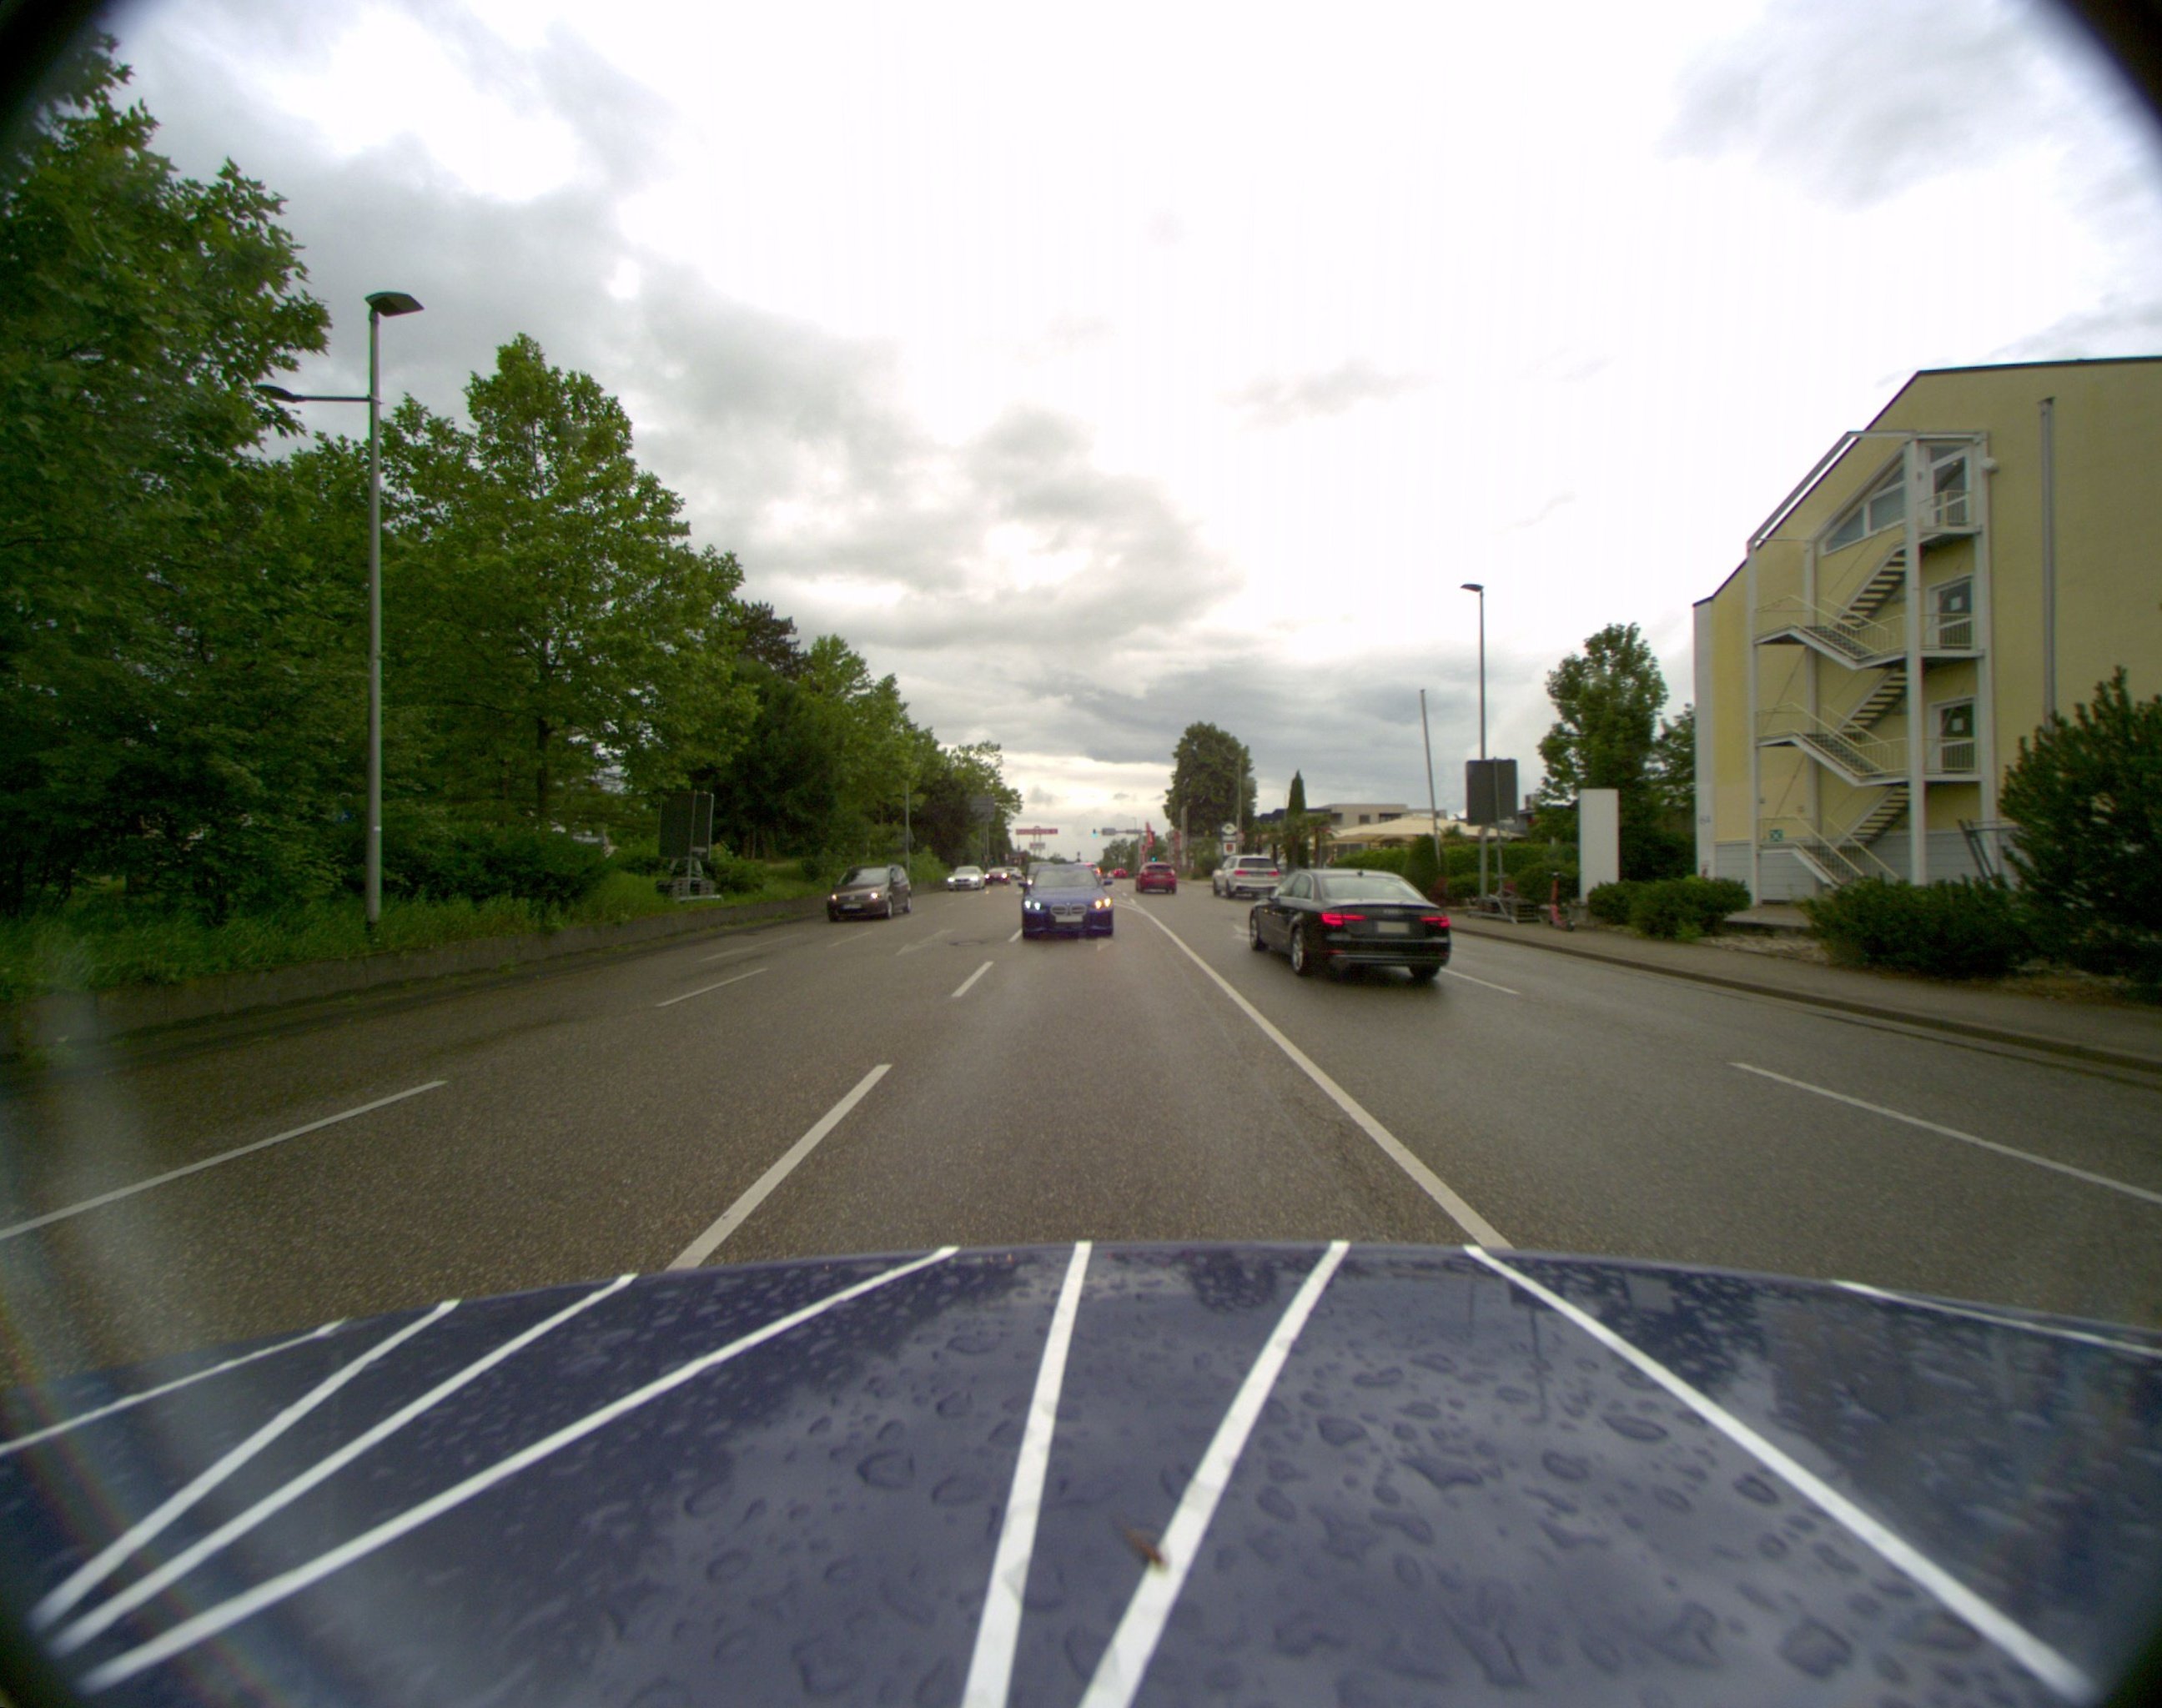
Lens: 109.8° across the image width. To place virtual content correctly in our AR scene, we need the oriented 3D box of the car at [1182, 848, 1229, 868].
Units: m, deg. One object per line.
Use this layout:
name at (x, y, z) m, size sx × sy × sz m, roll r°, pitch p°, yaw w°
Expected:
car at (12.982, 0.429, 79.155) m, size 4.407 × 2.001 × 1.996 m, roll 2°, pitch -2°, yaw -28°

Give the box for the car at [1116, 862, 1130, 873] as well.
car at (6.058, 1.990, 109.698) m, size 1.641 × 1.524 × 3.972 m, roll 1°, pitch -1°, yaw 0°

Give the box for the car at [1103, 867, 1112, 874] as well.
car at (5.178, 3.152, 146.939) m, size 1.627 × 1.324 × 3.947 m, roll 1°, pitch -2°, yaw 0°

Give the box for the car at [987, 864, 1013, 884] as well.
car at (-6.272, 1.528, 58.938) m, size 1.634 × 1.448 × 3.539 m, roll -1°, pitch -1°, yaw -1°

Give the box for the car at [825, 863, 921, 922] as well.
car at (-6.247, 1.122, 23.239) m, size 1.751 × 1.599 × 3.981 m, roll -2°, pitch -1°, yaw 1°

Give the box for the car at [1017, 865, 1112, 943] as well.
car at (-0.352, 1.014, 16.835) m, size 1.784 × 1.448 × 4.598 m, roll -2°, pitch -1°, yaw -1°

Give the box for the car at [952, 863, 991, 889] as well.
car at (-6.677, 1.345, 46.674) m, size 1.784 × 1.448 × 4.680 m, roll -2°, pitch -1°, yaw -1°

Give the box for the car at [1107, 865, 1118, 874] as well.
car at (5.278, 2.588, 126.609) m, size 1.640 × 1.468 × 4.047 m, roll 0°, pitch -1°, yaw 6°

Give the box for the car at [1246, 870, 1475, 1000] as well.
car at (3.692, 0.979, 10.944) m, size 1.897 × 1.396 × 4.265 m, roll 0°, pitch 0°, yaw 3°

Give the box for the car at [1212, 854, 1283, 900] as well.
car at (6.935, 0.902, 32.265) m, size 1.922 × 1.752 × 5.143 m, roll 2°, pitch 0°, yaw 1°

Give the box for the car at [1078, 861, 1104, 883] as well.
car at (0.659, 1.274, 54.642) m, size 1.754 × 1.499 × 4.302 m, roll 0°, pitch 0°, yaw -1°

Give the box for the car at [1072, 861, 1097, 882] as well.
car at (0.257, 1.358, 59.279) m, size 1.792 × 1.571 × 4.238 m, roll -1°, pitch 0°, yaw -2°

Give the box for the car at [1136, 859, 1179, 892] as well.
car at (3.588, 1.003, 36.290) m, size 1.685 × 1.411 × 3.841 m, roll 1°, pitch 0°, yaw 1°
